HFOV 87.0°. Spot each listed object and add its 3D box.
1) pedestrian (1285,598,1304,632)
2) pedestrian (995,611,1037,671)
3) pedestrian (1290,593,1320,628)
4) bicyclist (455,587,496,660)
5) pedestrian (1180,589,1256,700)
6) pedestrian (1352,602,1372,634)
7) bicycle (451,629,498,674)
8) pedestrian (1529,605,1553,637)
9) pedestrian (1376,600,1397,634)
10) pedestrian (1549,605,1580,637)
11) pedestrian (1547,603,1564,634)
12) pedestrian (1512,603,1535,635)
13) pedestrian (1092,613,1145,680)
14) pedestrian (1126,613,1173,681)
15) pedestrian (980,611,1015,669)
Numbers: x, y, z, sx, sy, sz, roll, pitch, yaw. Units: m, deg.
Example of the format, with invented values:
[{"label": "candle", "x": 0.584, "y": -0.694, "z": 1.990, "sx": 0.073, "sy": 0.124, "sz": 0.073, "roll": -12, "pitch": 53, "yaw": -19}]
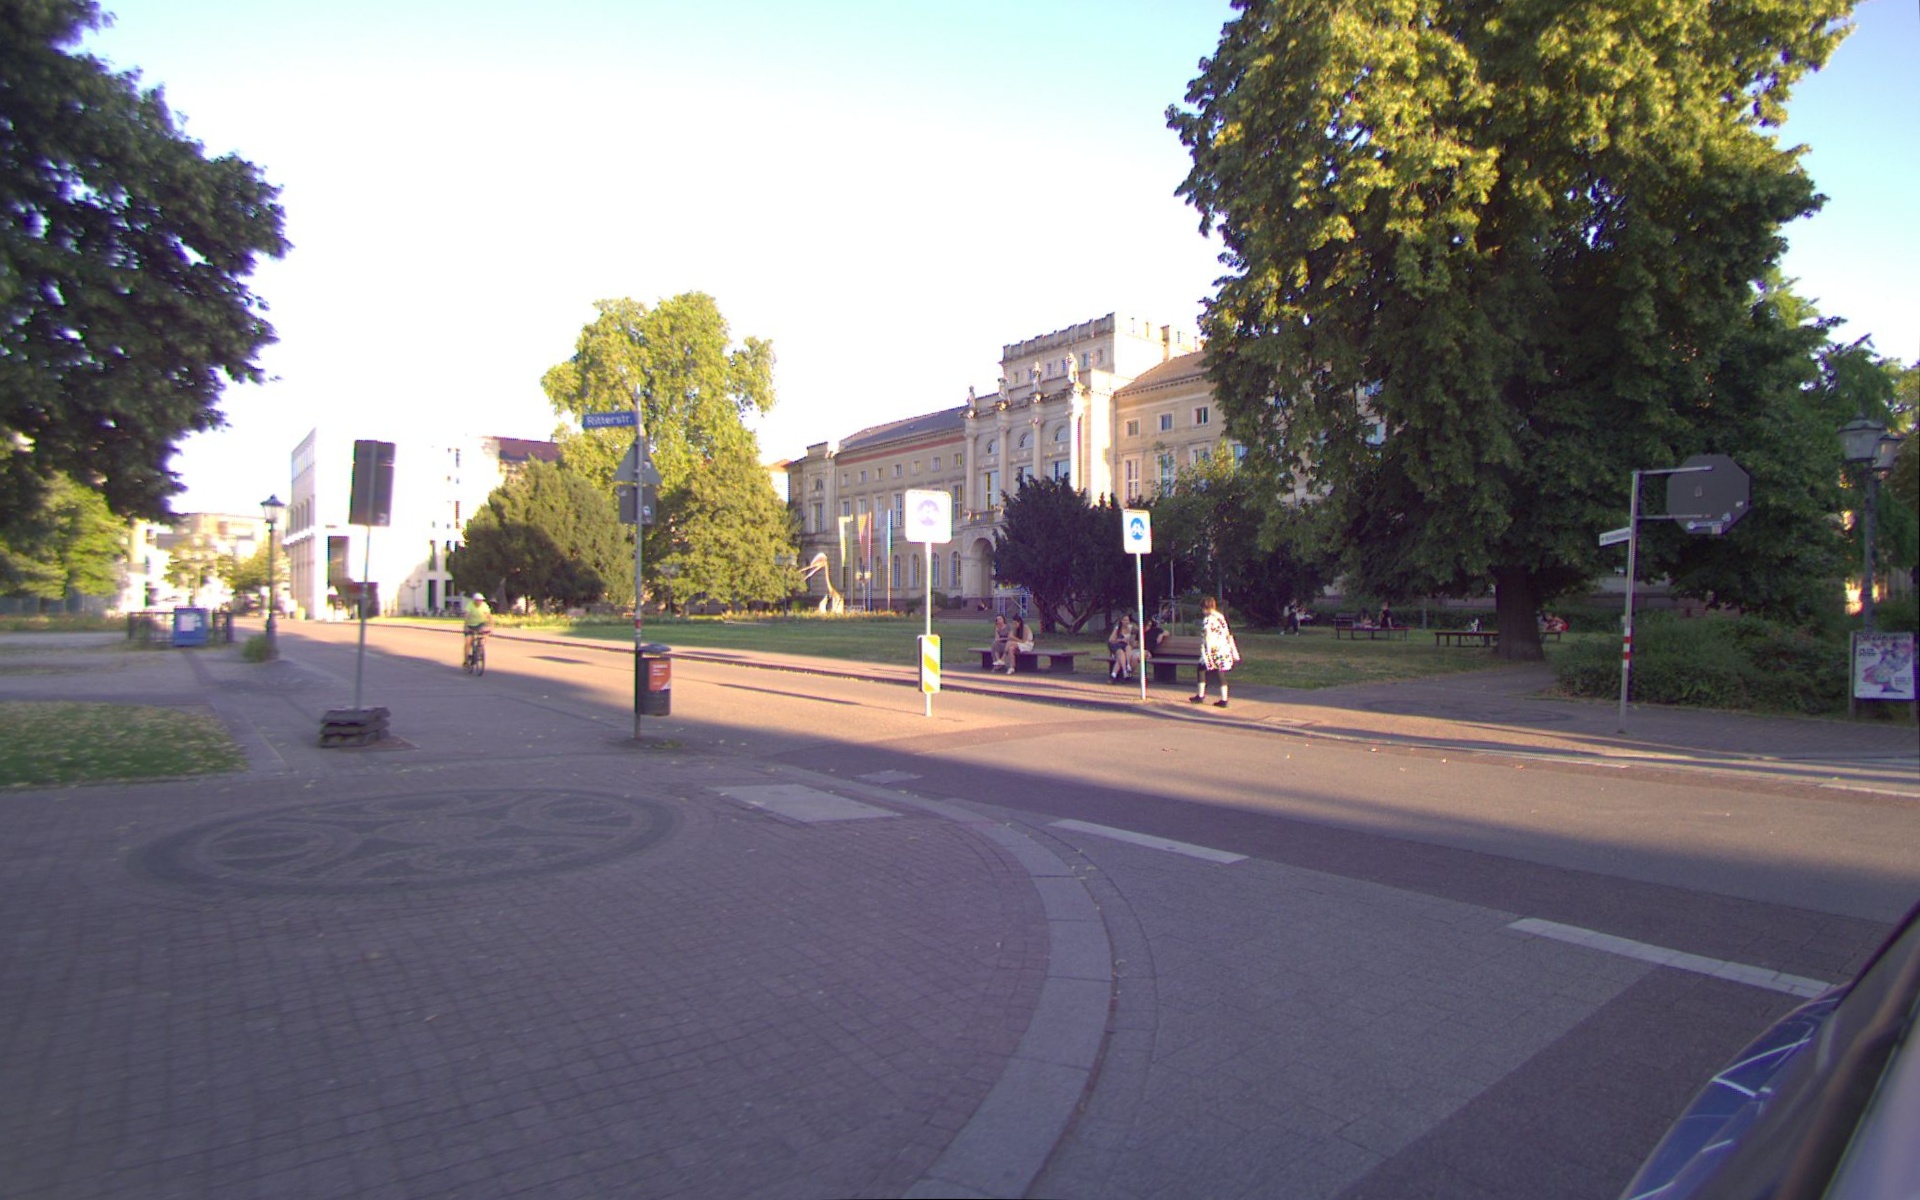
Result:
[{"label": "pedestrian", "x": 14.384, "y": 0.626, "z": 43.567, "sx": 0.743, "sy": 1.462, "sz": 0.814, "roll": 0, "pitch": 0, "yaw": 17}, {"label": "pedestrian", "x": 1.180, "y": 0.844, "z": 21.282, "sx": 0.656, "sy": 1.229, "sz": 0.606, "roll": 1, "pitch": -1, "yaw": -44}, {"label": "pedestrian", "x": 20.342, "y": 0.638, "z": 59.612, "sx": 0.965, "sy": 2.040, "sz": 1.394, "roll": 2, "pitch": -2, "yaw": -41}, {"label": "bicyclist", "x": -10.394, "y": 0.491, "z": 21.712, "sx": 0.640, "sy": 1.547, "sz": 0.723, "roll": 1, "pitch": -1, "yaw": -39}, {"label": "pedestrian", "x": 3.967, "y": 0.656, "z": 15.596, "sx": 0.742, "sy": 1.647, "sz": 0.860, "roll": 0, "pitch": 0, "yaw": -32}, {"label": "pedestrian", "x": 14.637, "y": 0.651, "z": 36.861, "sx": 0.593, "sy": 1.123, "sz": 0.394, "roll": 0, "pitch": 0, "yaw": 7}, {"label": "bicycle", "x": -10.427, "y": 1.087, "z": 21.718, "sx": 0.536, "sy": 0.878, "sz": 1.712, "roll": 0, "pitch": 0, "yaw": -39}, {"label": "pedestrian", "x": 19.329, "y": 0.699, "z": 33.667, "sx": 0.595, "sy": 1.064, "sz": 0.393, "roll": 0, "pitch": 0, "yaw": 16}, {"label": "pedestrian", "x": 15.388, "y": 0.611, "z": 36.522, "sx": 0.594, "sy": 1.217, "sz": 0.394, "roll": 0, "pitch": 0, "yaw": 11}, {"label": "pedestrian", "x": 20.211, "y": 0.708, "z": 33.850, "sx": 0.785, "sy": 1.064, "sz": 0.393, "roll": 0, "pitch": 0, "yaw": 16}, {"label": "pedestrian", "x": 20.354, "y": 0.624, "z": 34.612, "sx": 0.390, "sy": 1.064, "sz": 0.600, "roll": 0, "pitch": 0, "yaw": 20}, {"label": "pedestrian", "x": 19.209, "y": 0.643, "z": 34.505, "sx": 0.596, "sy": 1.064, "sz": 0.393, "roll": 0, "pitch": 0, "yaw": 19}, {"label": "pedestrian", "x": 2.987, "y": 0.863, "z": 19.100, "sx": 0.954, "sy": 1.219, "sz": 0.527, "roll": 1, "pitch": -1, "yaw": -44}, {"label": "pedestrian", "x": 3.520, "y": 0.864, "z": 18.782, "sx": 0.656, "sy": 1.219, "sz": 0.606, "roll": 1, "pitch": -1, "yaw": -44}, {"label": "pedestrian", "x": 0.816, "y": 0.849, "z": 21.791, "sx": 0.582, "sy": 1.229, "sz": 0.499, "roll": 1, "pitch": -1, "yaw": -44}]
